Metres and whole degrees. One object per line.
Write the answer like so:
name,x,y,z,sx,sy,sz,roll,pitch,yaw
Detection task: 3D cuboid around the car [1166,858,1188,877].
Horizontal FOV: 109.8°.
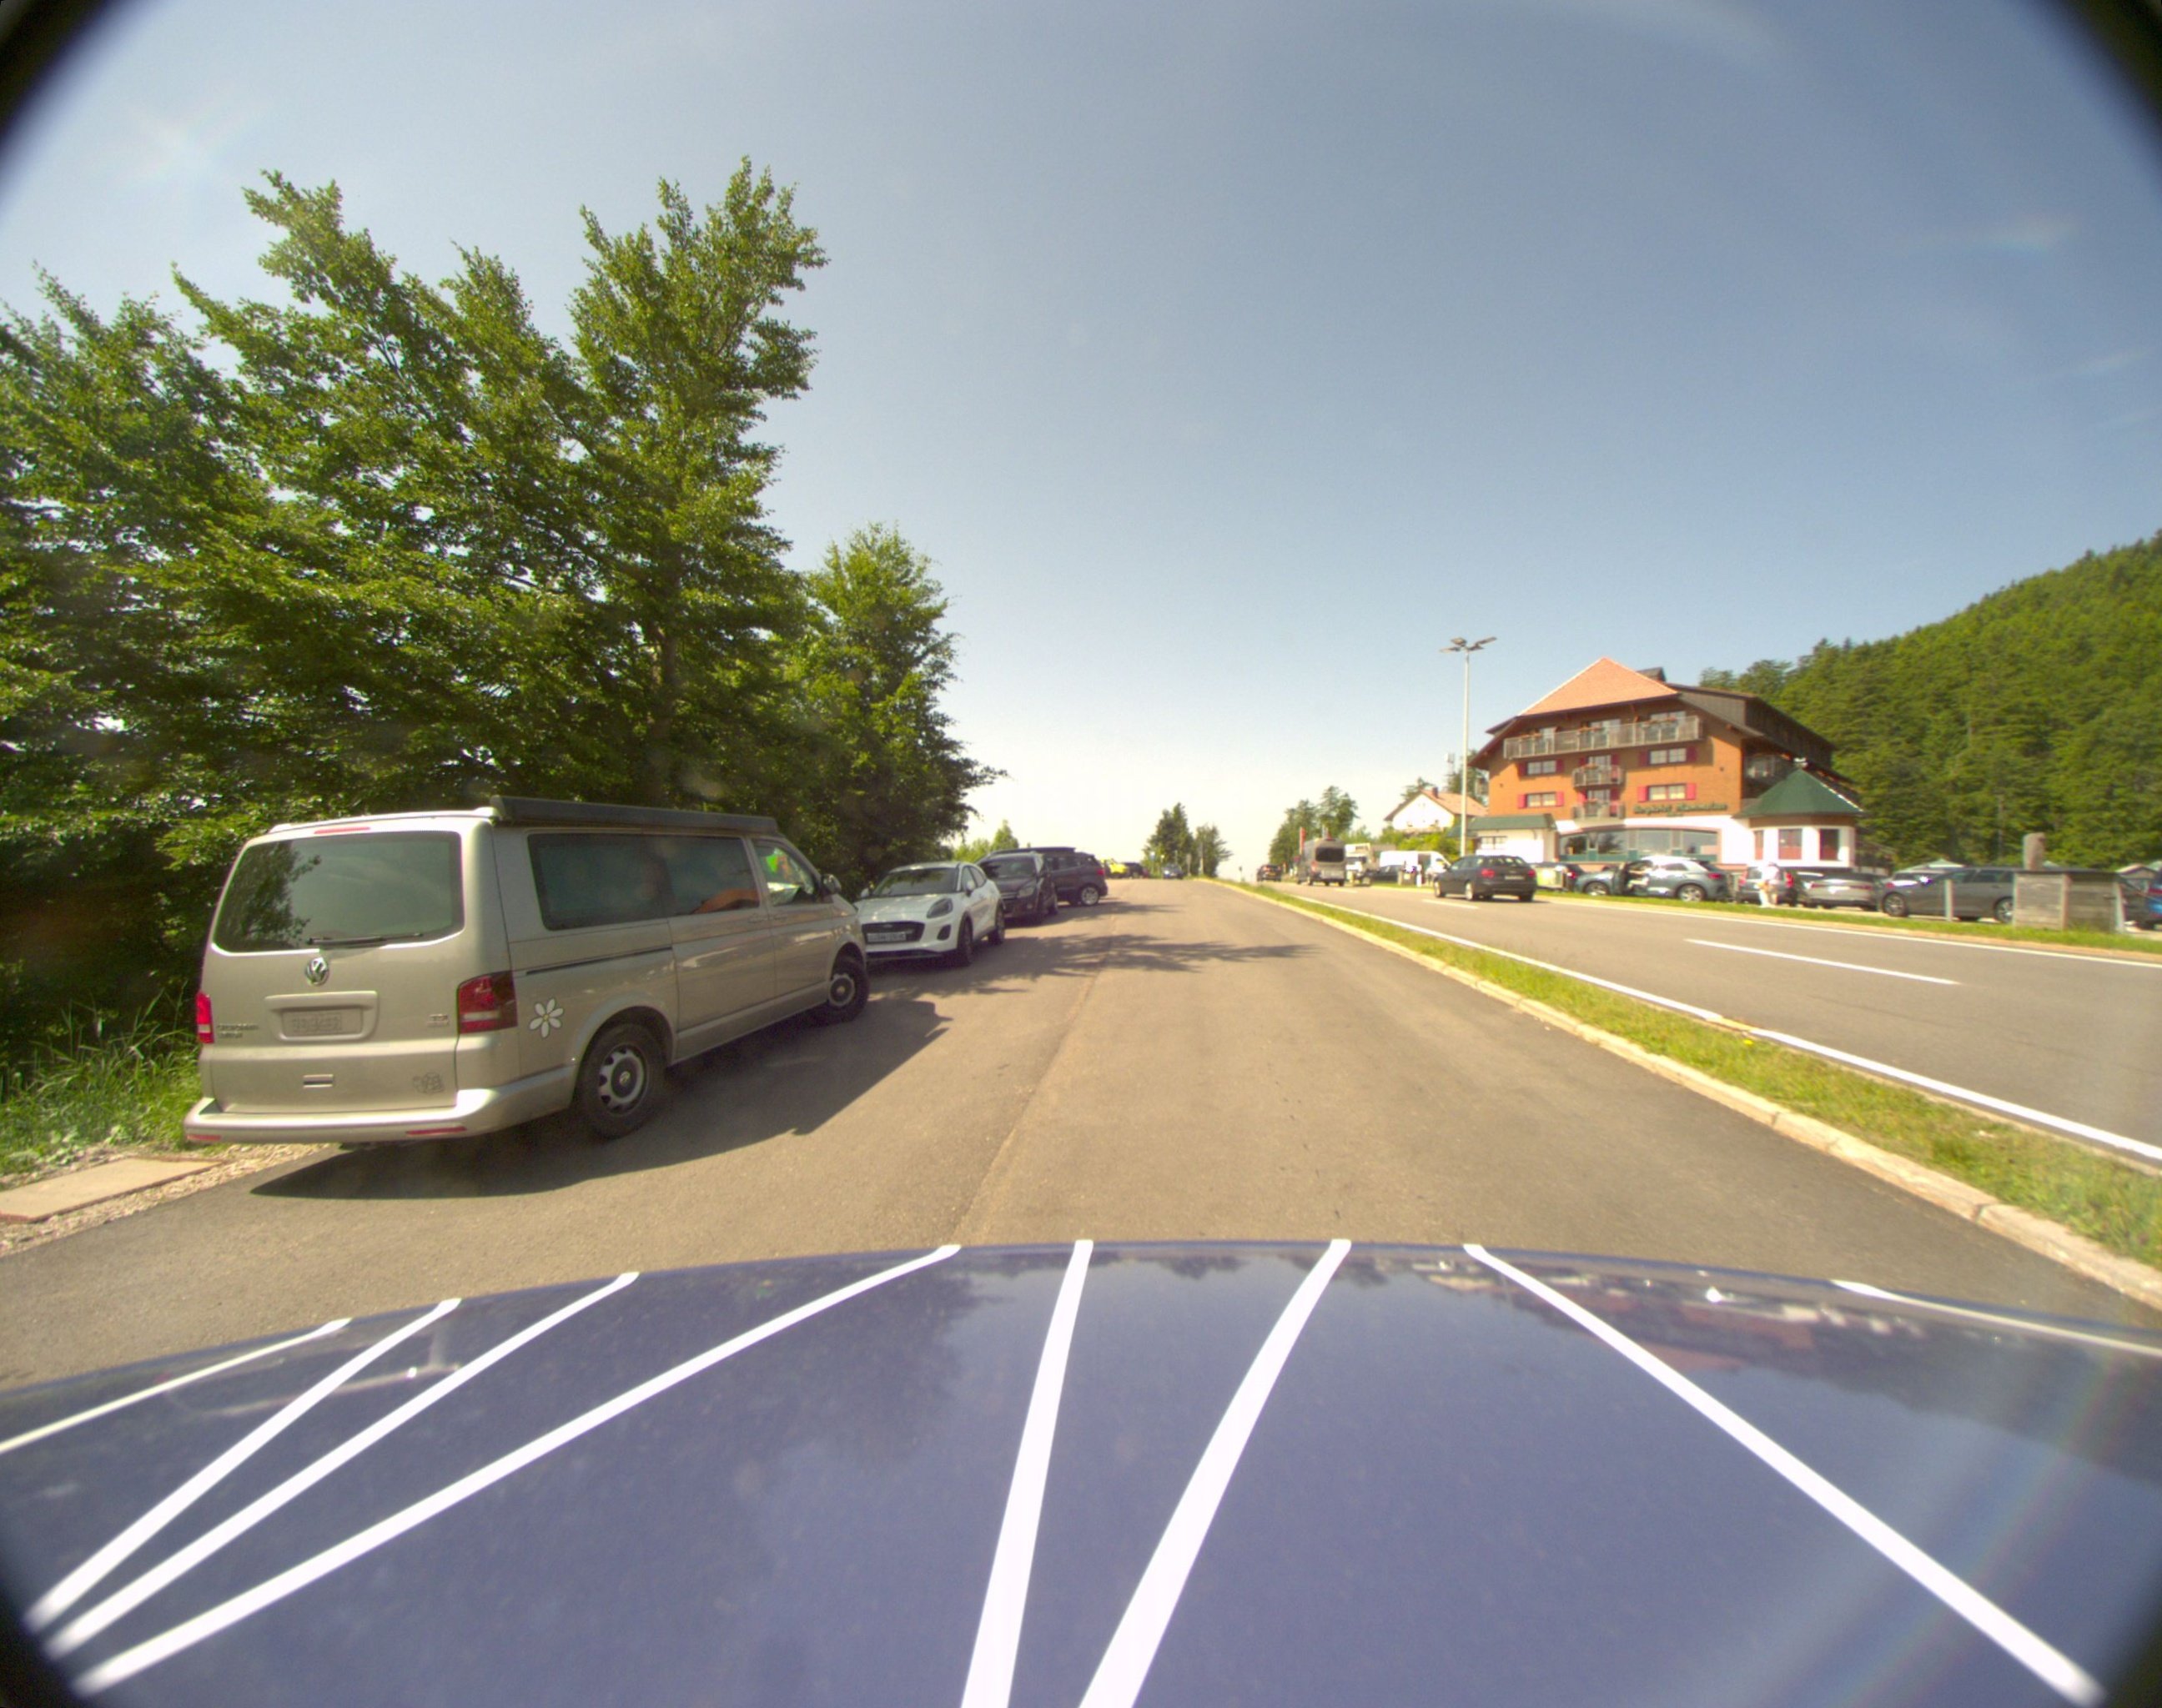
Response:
car,8.630,1.195,68.424,1.874,1.605,3.915,1,0,6

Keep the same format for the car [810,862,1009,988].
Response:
car,-2.472,0.970,12.084,1.874,1.538,4.001,-3,0,5

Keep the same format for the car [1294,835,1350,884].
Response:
car,14.334,0.317,45.475,2.015,2.735,5.920,1,0,6

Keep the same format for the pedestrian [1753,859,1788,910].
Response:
pedestrian,22.437,0.979,24.741,0.744,1.615,0.685,1,1,36

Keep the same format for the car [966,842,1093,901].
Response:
car,-1.989,0.630,28.858,4.462,1.914,1.874,-3,0,-14

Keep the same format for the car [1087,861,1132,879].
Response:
car,2.662,1.451,69.481,3.907,1.605,1.877,1,0,8

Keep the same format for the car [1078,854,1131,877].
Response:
car,2.085,0.966,66.301,4.454,1.914,1.877,1,0,8

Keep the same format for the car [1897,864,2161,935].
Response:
car,22.489,0.994,18.282,1.719,1.422,4.002,1,0,8

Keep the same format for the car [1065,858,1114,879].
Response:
car,0.742,1.195,63.711,3.907,1.605,1.877,1,0,8

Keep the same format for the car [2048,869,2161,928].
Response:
car,31.288,1.295,21.899,1.828,1.619,4.082,0,1,-41

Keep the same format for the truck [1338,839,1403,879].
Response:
truck,29.612,0.526,77.465,2.876,3.798,9.037,-2,-1,43

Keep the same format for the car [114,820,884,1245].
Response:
car,-3.399,0.860,5.857,1.860,1.924,4.612,-3,0,9

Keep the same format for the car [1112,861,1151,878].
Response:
car,5.218,1.595,78.769,3.907,1.605,1.877,1,0,8

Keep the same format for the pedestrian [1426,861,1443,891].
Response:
pedestrian,23.808,1.494,51.205,0.717,2.002,0.802,0,0,-6

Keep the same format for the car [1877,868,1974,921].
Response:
car,27.183,1.232,24.428,4.103,1.504,1.819,1,1,-39

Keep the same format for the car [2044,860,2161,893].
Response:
car,59.282,1.265,43.629,1.924,1.705,4.832,0,1,-40

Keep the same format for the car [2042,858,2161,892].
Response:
car,55.777,1.124,41.448,1.924,1.705,4.083,0,1,-40

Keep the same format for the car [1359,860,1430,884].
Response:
car,21.406,1.197,52.013,4.082,1.518,1.828,1,1,45

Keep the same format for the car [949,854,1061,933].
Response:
car,-1.677,0.843,18.203,1.874,1.609,4.001,-3,0,5

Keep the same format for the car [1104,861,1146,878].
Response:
car,4.362,1.477,74.782,3.907,1.605,1.877,1,0,8

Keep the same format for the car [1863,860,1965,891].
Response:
car,50.558,1.258,46.184,1.924,1.705,4.083,0,1,-40

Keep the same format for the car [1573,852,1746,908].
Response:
car,19.101,0.794,25.217,1.828,1.619,4.258,0,1,-41

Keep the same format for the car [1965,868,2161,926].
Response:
car,32.173,1.341,24.907,1.828,1.619,4.082,0,1,-41

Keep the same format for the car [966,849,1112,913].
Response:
car,-1.280,0.760,22.670,4.001,1.609,1.874,-3,0,-14

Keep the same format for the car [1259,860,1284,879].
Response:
car,17.743,1.389,70.994,1.720,1.672,4.132,0,0,6

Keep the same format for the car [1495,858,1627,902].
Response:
car,19.890,1.028,31.631,1.828,1.619,4.258,0,1,-41

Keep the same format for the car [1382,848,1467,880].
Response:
car,31.605,0.868,70.051,6.948,2.774,2.672,1,0,24

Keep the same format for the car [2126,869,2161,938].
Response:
car,27.666,1.218,18.844,4.103,1.619,1.819,1,1,-39

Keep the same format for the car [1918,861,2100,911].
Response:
car,33.525,1.097,27.647,1.828,1.619,4.082,0,1,-41

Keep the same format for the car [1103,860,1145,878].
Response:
car,4.104,1.376,72.183,3.907,1.605,1.877,1,0,8

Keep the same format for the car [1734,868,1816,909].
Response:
car,27.954,1.326,30.569,4.103,1.504,1.819,1,1,-39

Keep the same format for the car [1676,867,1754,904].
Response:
car,27.891,1.329,33.403,4.103,1.504,1.819,1,1,-39

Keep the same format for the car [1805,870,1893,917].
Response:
car,28.077,1.388,27.761,4.103,1.504,1.819,1,1,-39

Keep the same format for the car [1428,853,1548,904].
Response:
car,12.507,0.698,23.685,1.709,1.429,4.452,0,0,6

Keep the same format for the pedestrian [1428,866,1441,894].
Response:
pedestrian,23.850,1.747,51.279,0.672,1.853,0.752,1,1,13
